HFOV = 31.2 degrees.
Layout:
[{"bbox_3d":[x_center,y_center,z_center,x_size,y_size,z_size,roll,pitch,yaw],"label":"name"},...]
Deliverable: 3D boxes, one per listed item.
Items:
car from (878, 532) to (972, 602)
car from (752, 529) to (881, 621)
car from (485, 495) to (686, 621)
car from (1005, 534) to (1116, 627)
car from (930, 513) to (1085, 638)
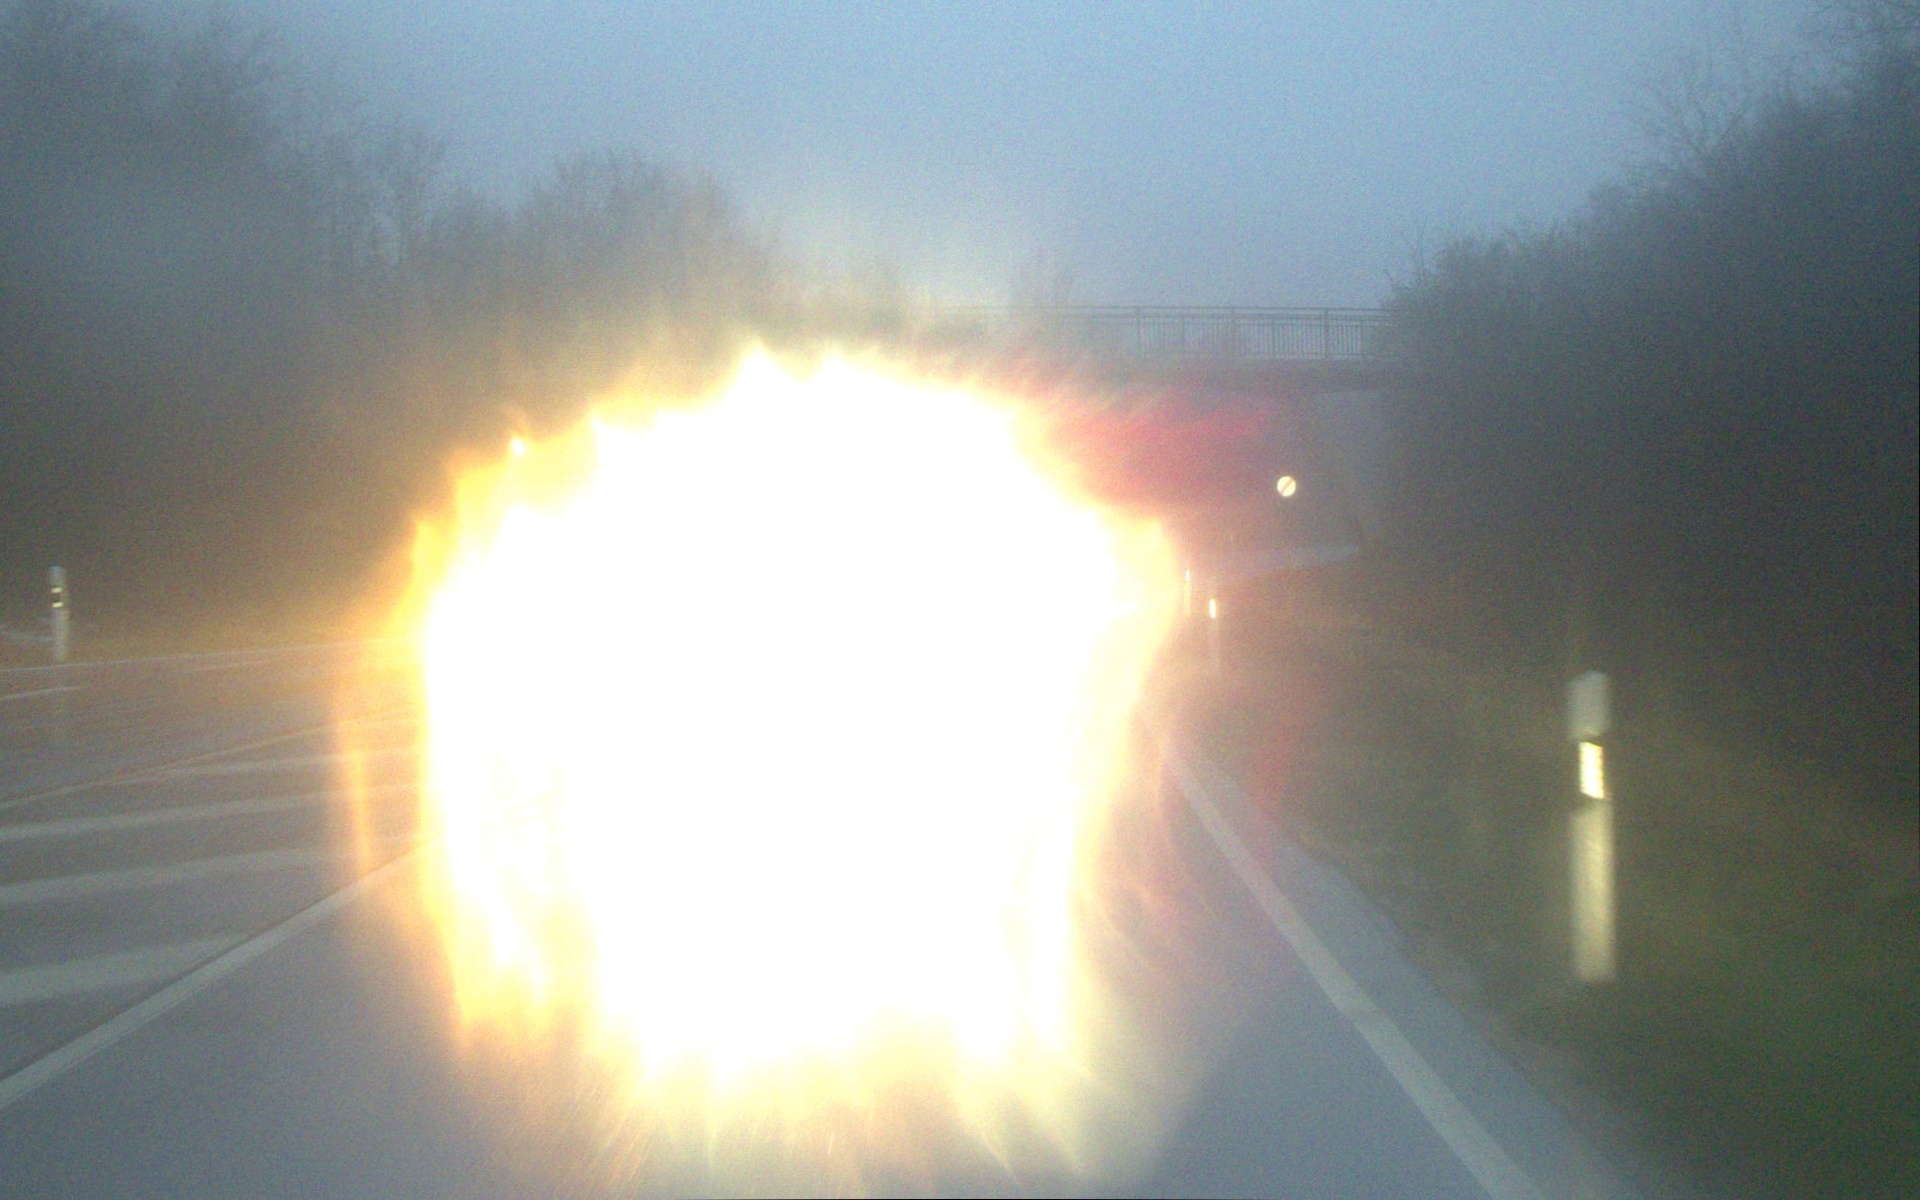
[{"bbox_3d":[-0.827,-0.800,83.953,1.860,1.641,4.467,0,1,5],"label":"car"},{"bbox_3d":[-2.700,-0.512,65.617,1.903,1.642,4.727,0,2,5],"label":"car"},{"bbox_3d":[-4.989,-0.604,46.381,1.824,1.518,4.298,-1,2,5],"label":"car"},{"bbox_3d":[1.939,-0.399,65.496,1.679,1.669,4.097,-1,1,7],"label":"car"},{"bbox_3d":[0.613,-0.331,41.047,1.679,1.385,4.098,-1,1,3],"label":"car"}]
